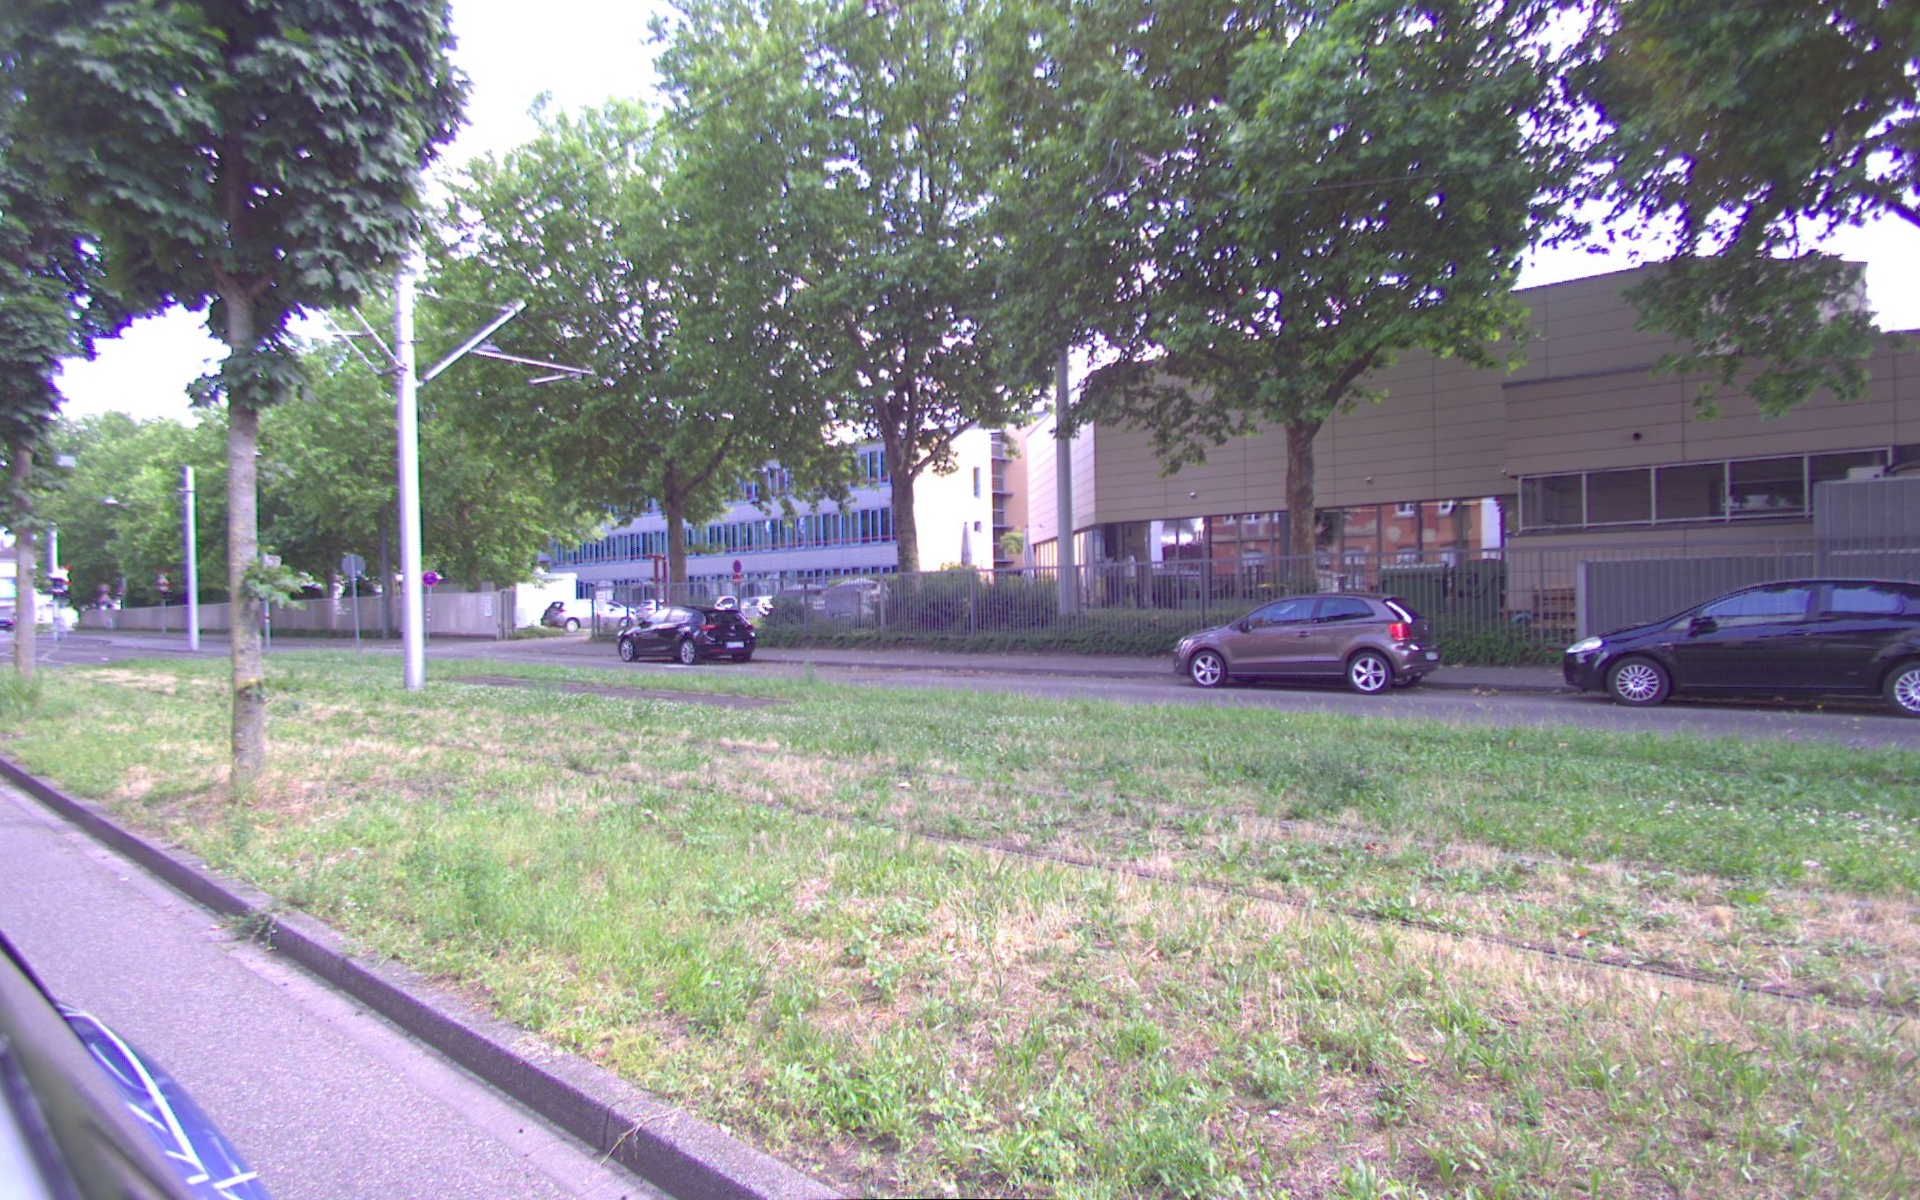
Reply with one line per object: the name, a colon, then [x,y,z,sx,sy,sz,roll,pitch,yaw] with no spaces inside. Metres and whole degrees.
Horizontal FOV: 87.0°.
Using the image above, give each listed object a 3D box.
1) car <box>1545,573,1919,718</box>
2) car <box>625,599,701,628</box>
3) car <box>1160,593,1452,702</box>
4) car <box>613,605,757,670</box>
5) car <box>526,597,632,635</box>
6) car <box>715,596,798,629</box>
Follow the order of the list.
car: [9.310,0.467,11.810,4.000,1.464,1.783,-1,0,43]
car: [-17.767,0.781,60.587,1.998,1.630,3.948,-1,0,39]
car: [5.164,0.664,15.389,3.899,1.436,1.538,-1,0,40]
car: [-6.978,0.917,25.506,3.999,1.475,1.580,-1,0,42]
car: [-16.909,0.679,45.052,1.998,1.630,3.948,-1,0,39]
car: [-10.708,0.646,53.468,1.998,1.630,3.948,-1,0,39]
